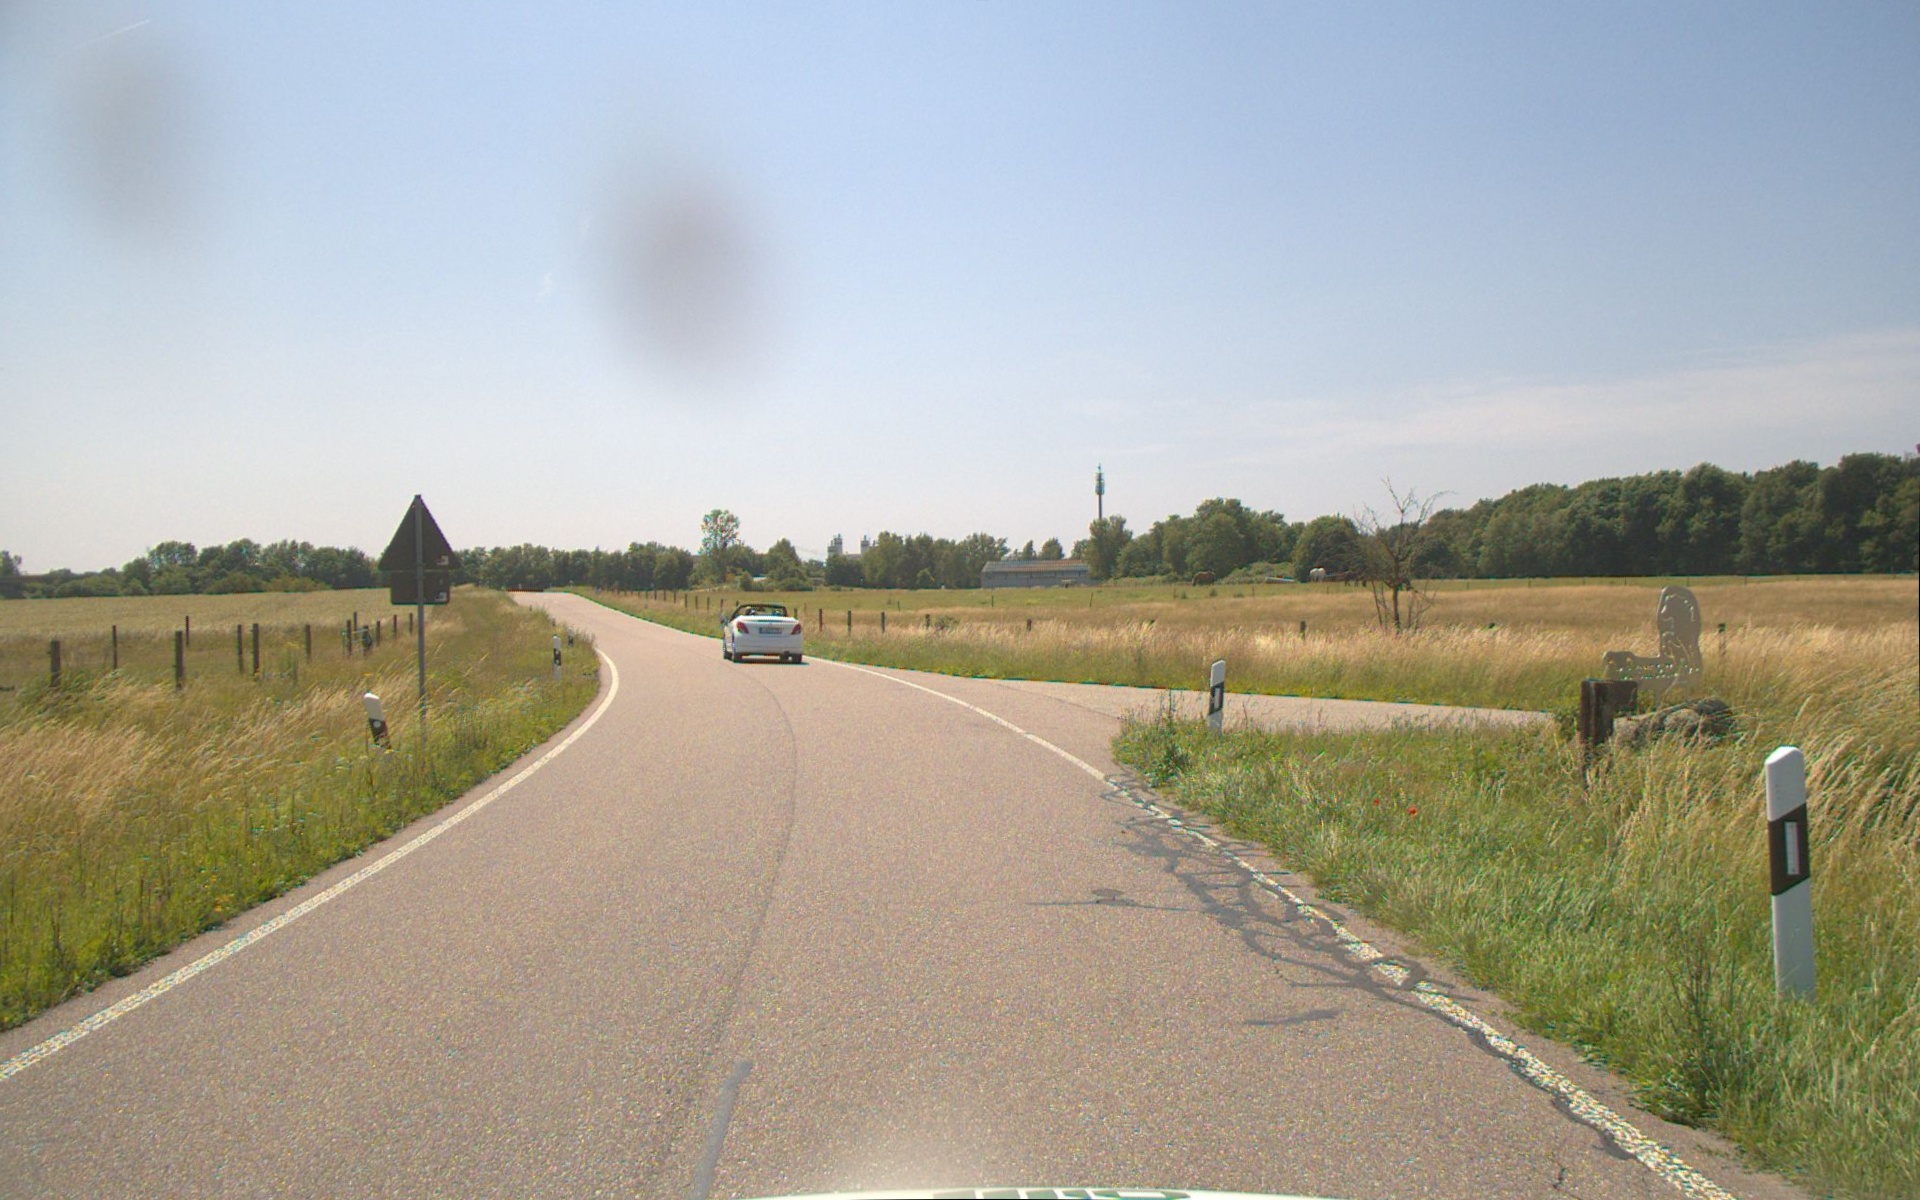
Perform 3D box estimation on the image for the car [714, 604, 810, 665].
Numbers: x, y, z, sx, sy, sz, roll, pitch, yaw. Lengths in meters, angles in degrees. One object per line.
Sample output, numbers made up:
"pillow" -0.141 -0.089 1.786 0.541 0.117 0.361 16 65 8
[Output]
"car" -4.945 0.841 40.853 1.820 1.403 3.984 1 -1 -15
